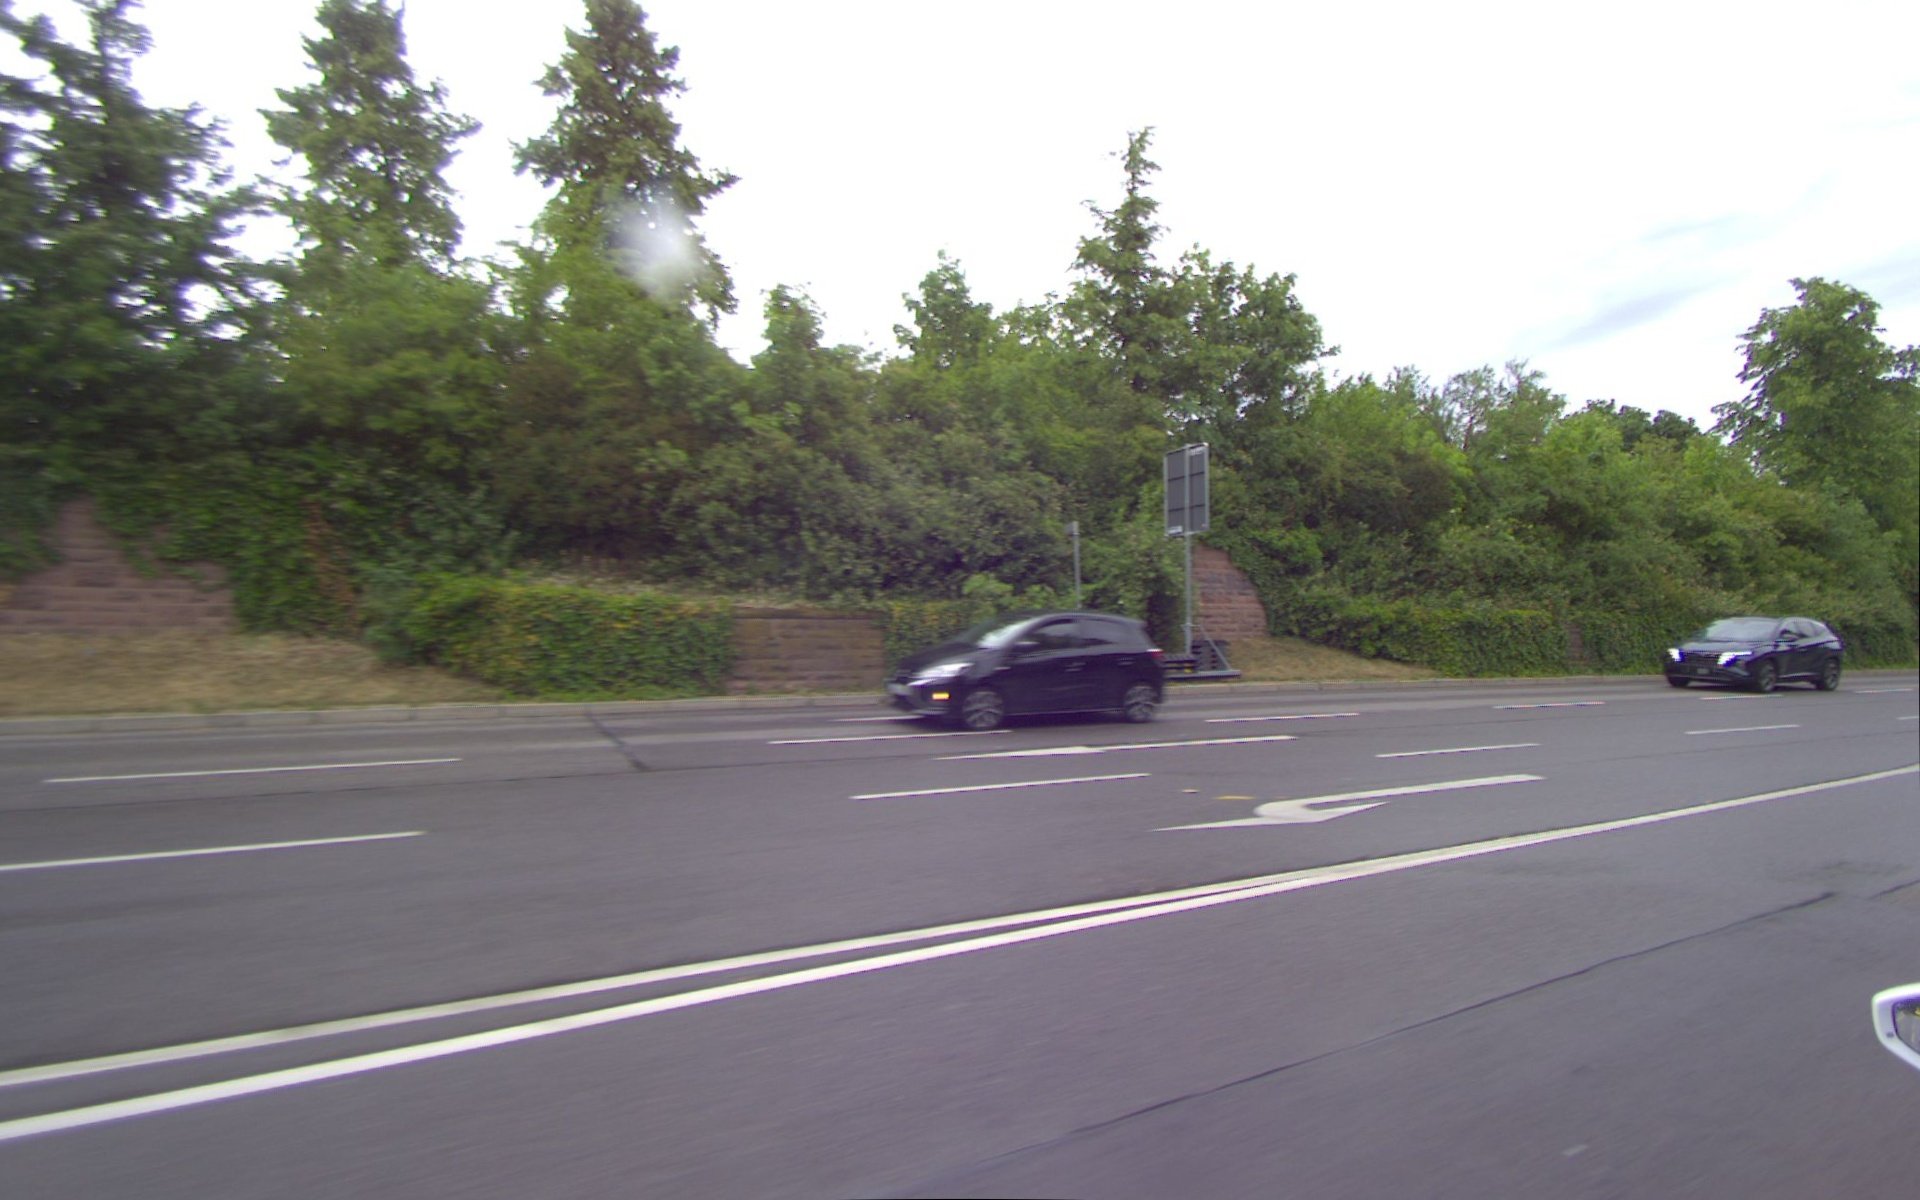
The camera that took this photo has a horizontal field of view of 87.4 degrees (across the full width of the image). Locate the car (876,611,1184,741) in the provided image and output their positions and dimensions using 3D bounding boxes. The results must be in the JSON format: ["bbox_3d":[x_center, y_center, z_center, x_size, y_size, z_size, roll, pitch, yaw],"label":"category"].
[{"bbox_3d":[0.963,0.924,13.389,3.814,1.487,1.667,1,0,-29],"label":"car"}]

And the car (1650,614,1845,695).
[{"bbox_3d":[17.515,1.154,22.314,4.372,1.628,1.793,1,0,-28],"label":"car"}]
